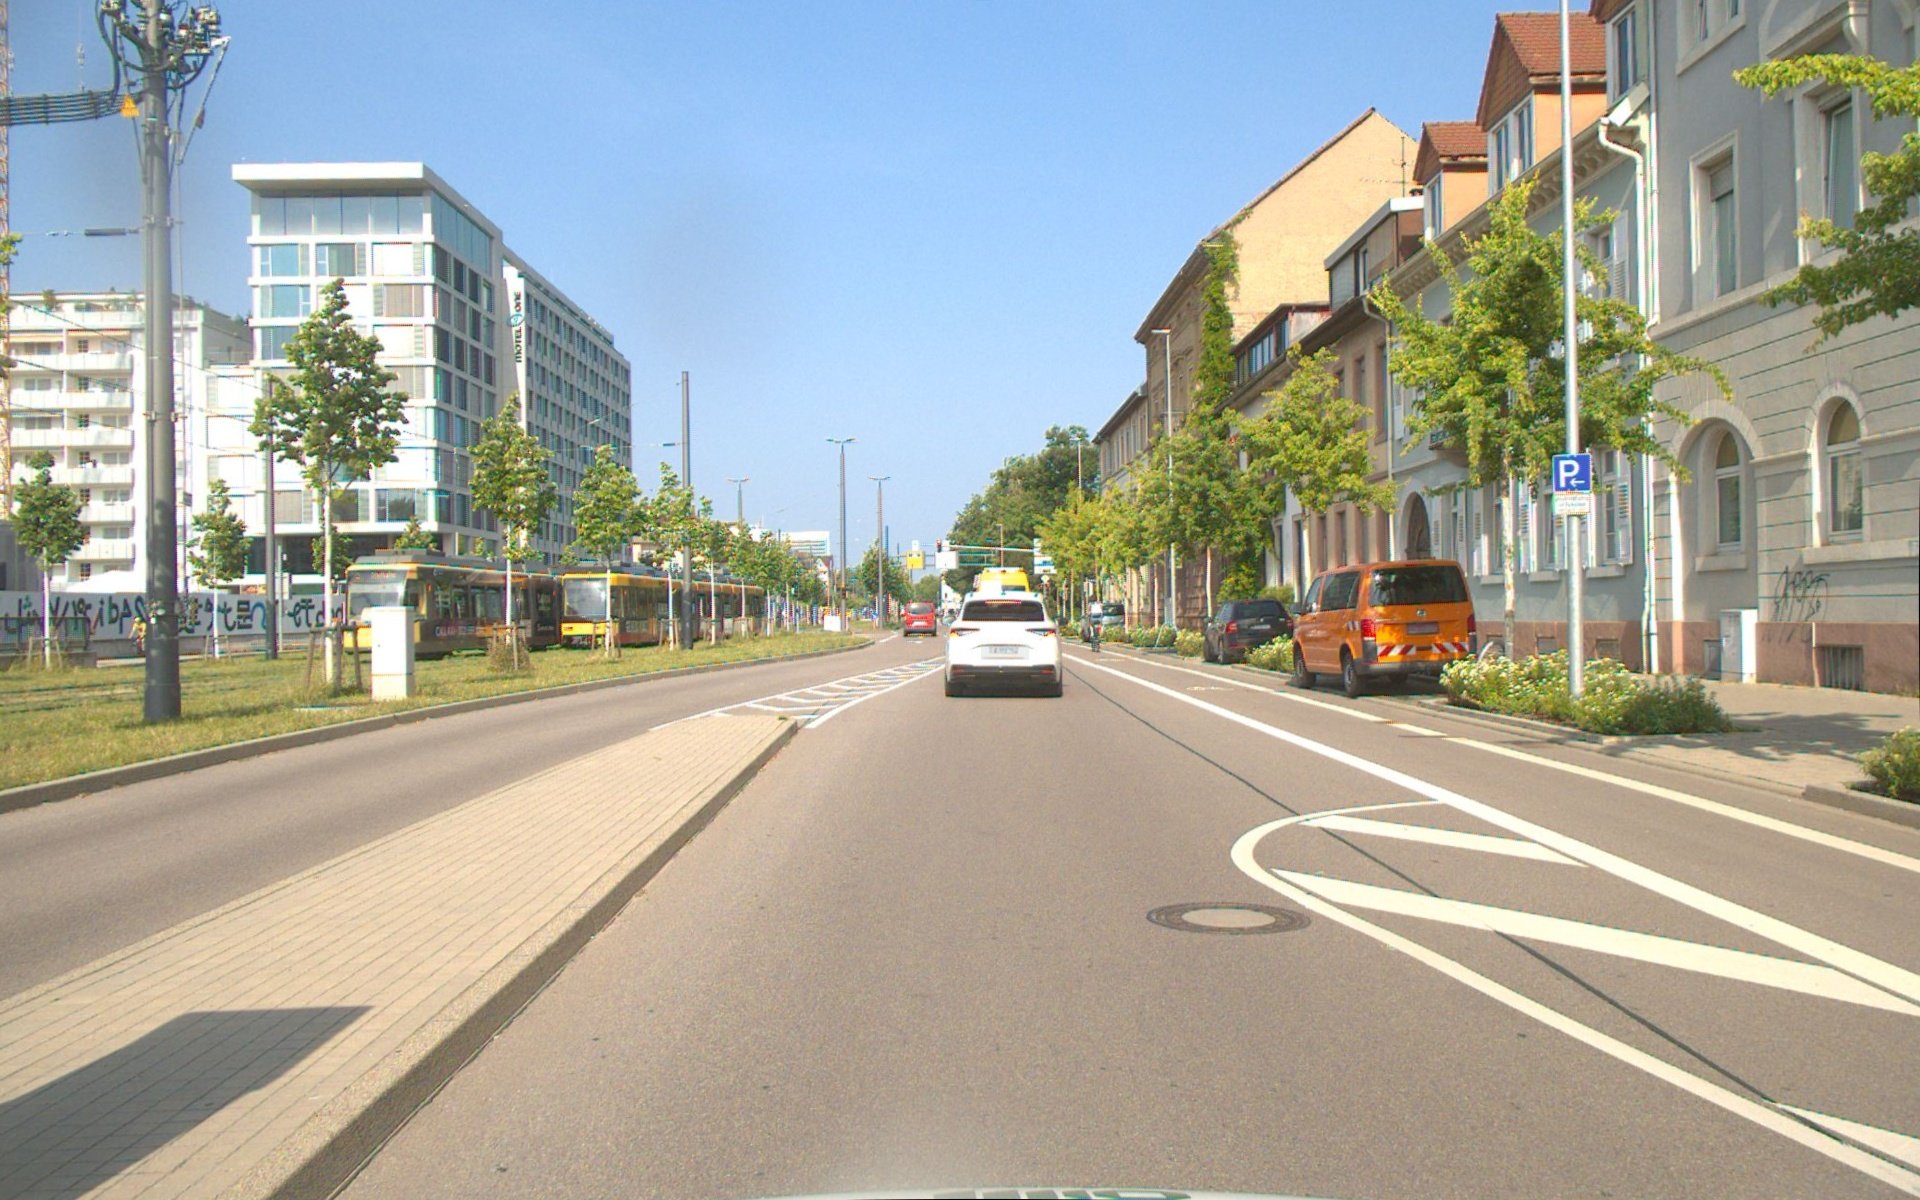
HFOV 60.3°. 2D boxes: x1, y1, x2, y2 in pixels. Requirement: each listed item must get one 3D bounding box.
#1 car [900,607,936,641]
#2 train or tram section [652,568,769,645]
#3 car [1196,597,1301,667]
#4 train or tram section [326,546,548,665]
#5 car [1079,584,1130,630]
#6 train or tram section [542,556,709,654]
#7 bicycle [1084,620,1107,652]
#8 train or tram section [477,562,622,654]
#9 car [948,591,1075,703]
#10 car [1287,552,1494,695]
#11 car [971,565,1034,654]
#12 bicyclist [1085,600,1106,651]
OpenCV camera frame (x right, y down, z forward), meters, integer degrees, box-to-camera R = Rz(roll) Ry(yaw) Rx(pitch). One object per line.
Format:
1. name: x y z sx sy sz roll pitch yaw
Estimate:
1. car: -2.348 1.331 93.098 1.891 1.853 4.000 -1 0 0
2. train or tram section: -13.399 0.414 90.845 2.845 3.772 18.295 0 0 3
3. car: 6.804 0.745 39.438 1.640 1.509 4.311 -3 0 -1
4. train or tram section: -17.838 0.178 58.016 2.801 3.598 14.899 -1 0 1
5. car: 6.070 0.281 69.789 1.775 1.844 3.835 -1 0 -1
6. train or tram section: -14.222 0.279 72.649 2.845 3.740 18.141 0 0 3
7. bicycle: 4.341 1.146 52.913 0.642 0.955 1.517 -1 0 2
8. train or tram section: -17.634 0.338 72.261 2.822 3.599 13.609 -1 0 1
9. car: 0.743 0.692 26.250 1.831 1.602 4.000 -1 0 0
10. car: 6.743 0.318 26.432 2.021 2.049 4.587 -1 0 -1
11. car: 1.445 0.250 57.726 1.979 2.844 5.401 -1 2 0
12. bicyclist: 4.340 0.810 52.933 0.626 1.604 0.771 -1 0 2
